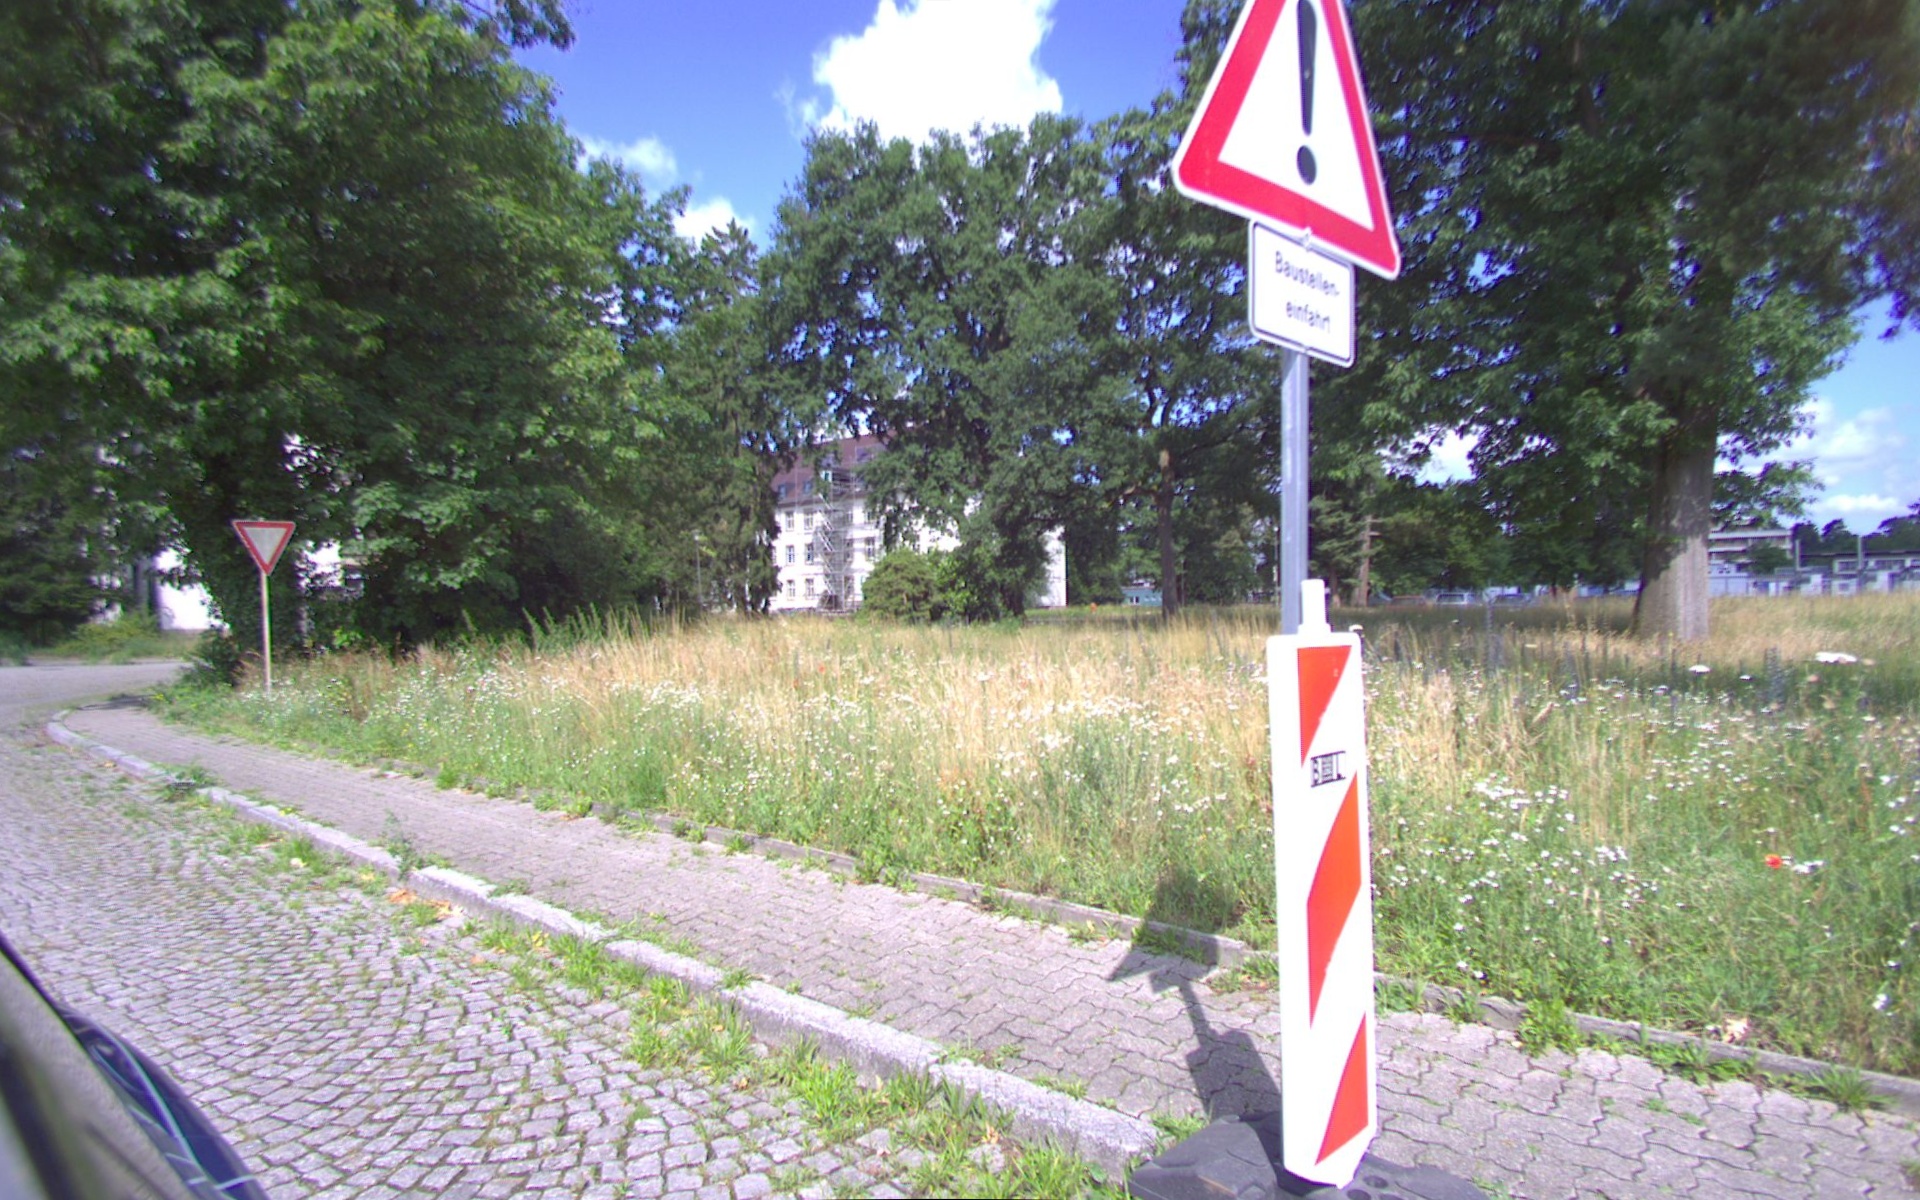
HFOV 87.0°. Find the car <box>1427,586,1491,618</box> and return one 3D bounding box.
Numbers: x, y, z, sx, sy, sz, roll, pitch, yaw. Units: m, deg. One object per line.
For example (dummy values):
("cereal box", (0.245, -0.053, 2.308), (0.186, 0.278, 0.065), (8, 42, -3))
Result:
("car", (23.684, 0.112, 47.975), (1.899, 1.423, 4.018), (-1, -1, 39))

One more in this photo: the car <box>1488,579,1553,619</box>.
("car", (25.646, -0.035, 46.256), (1.899, 1.704, 4.018), (-1, -1, 39))

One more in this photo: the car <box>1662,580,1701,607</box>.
("car", (49.340, -0.428, 69.149), (1.899, 1.715, 4.026), (-1, -1, 39))
